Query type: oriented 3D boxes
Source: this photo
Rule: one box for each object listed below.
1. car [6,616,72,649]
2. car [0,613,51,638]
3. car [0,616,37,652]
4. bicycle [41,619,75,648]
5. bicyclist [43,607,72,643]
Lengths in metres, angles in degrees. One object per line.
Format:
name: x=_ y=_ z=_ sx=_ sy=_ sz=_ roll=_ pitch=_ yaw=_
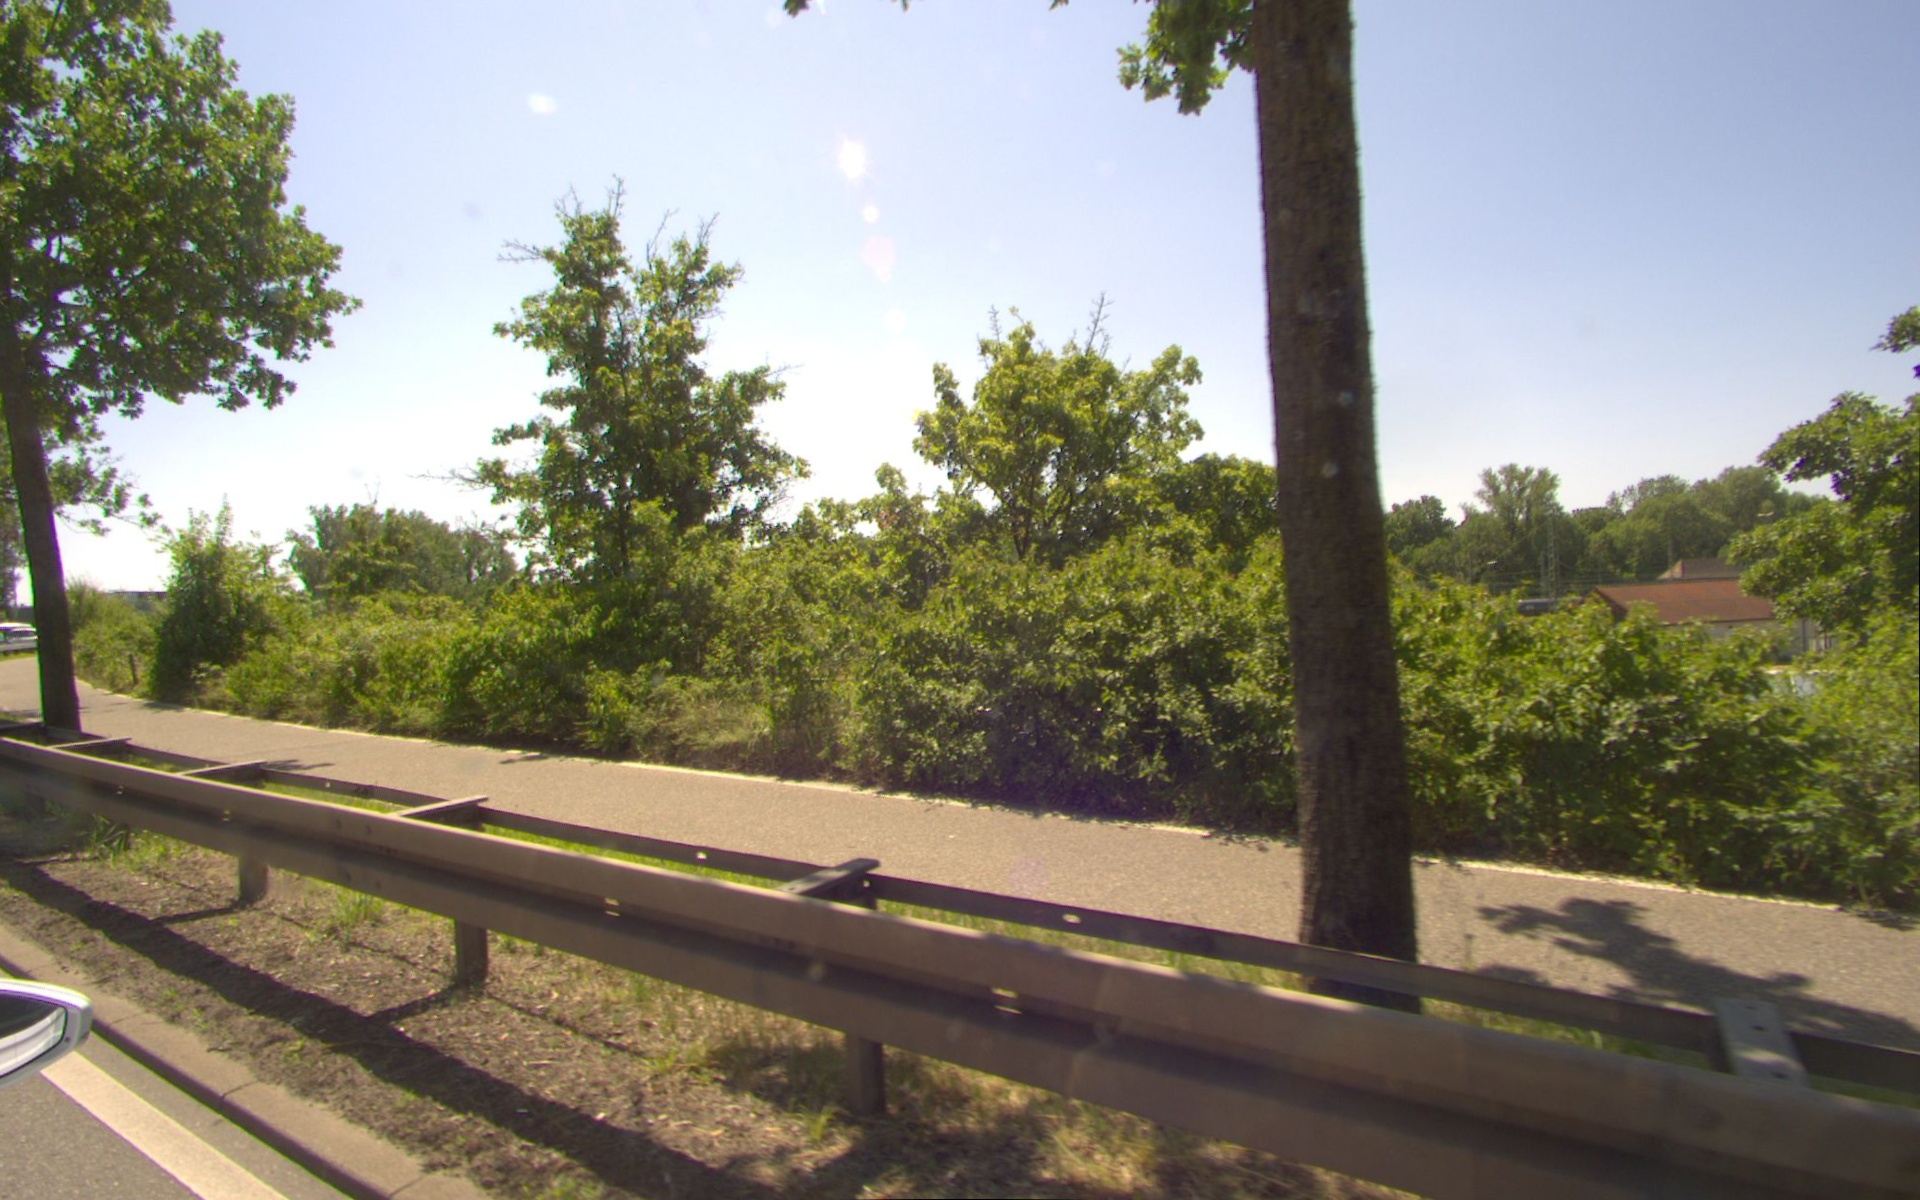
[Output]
car: x=-52.233 y=1.827 z=56.875 sx=1.973 sy=1.790 sz=4.726 roll=1 pitch=-2 yaw=-33
car: x=-60.189 y=1.651 z=64.395 sx=1.730 sy=1.575 sz=4.107 roll=0 pitch=-2 yaw=-30
car: x=-48.526 y=1.713 z=50.681 sx=1.975 sy=1.739 sz=4.837 roll=1 pitch=-2 yaw=-35
bicycle: x=-39.708 y=1.477 z=44.100 sx=0.852 sy=1.252 sz=2.293 roll=0 pitch=-2 yaw=-36
bicyclist: x=-39.702 y=1.097 z=44.079 sx=0.853 sy=1.543 sz=0.973 roll=0 pitch=-1 yaw=-37
